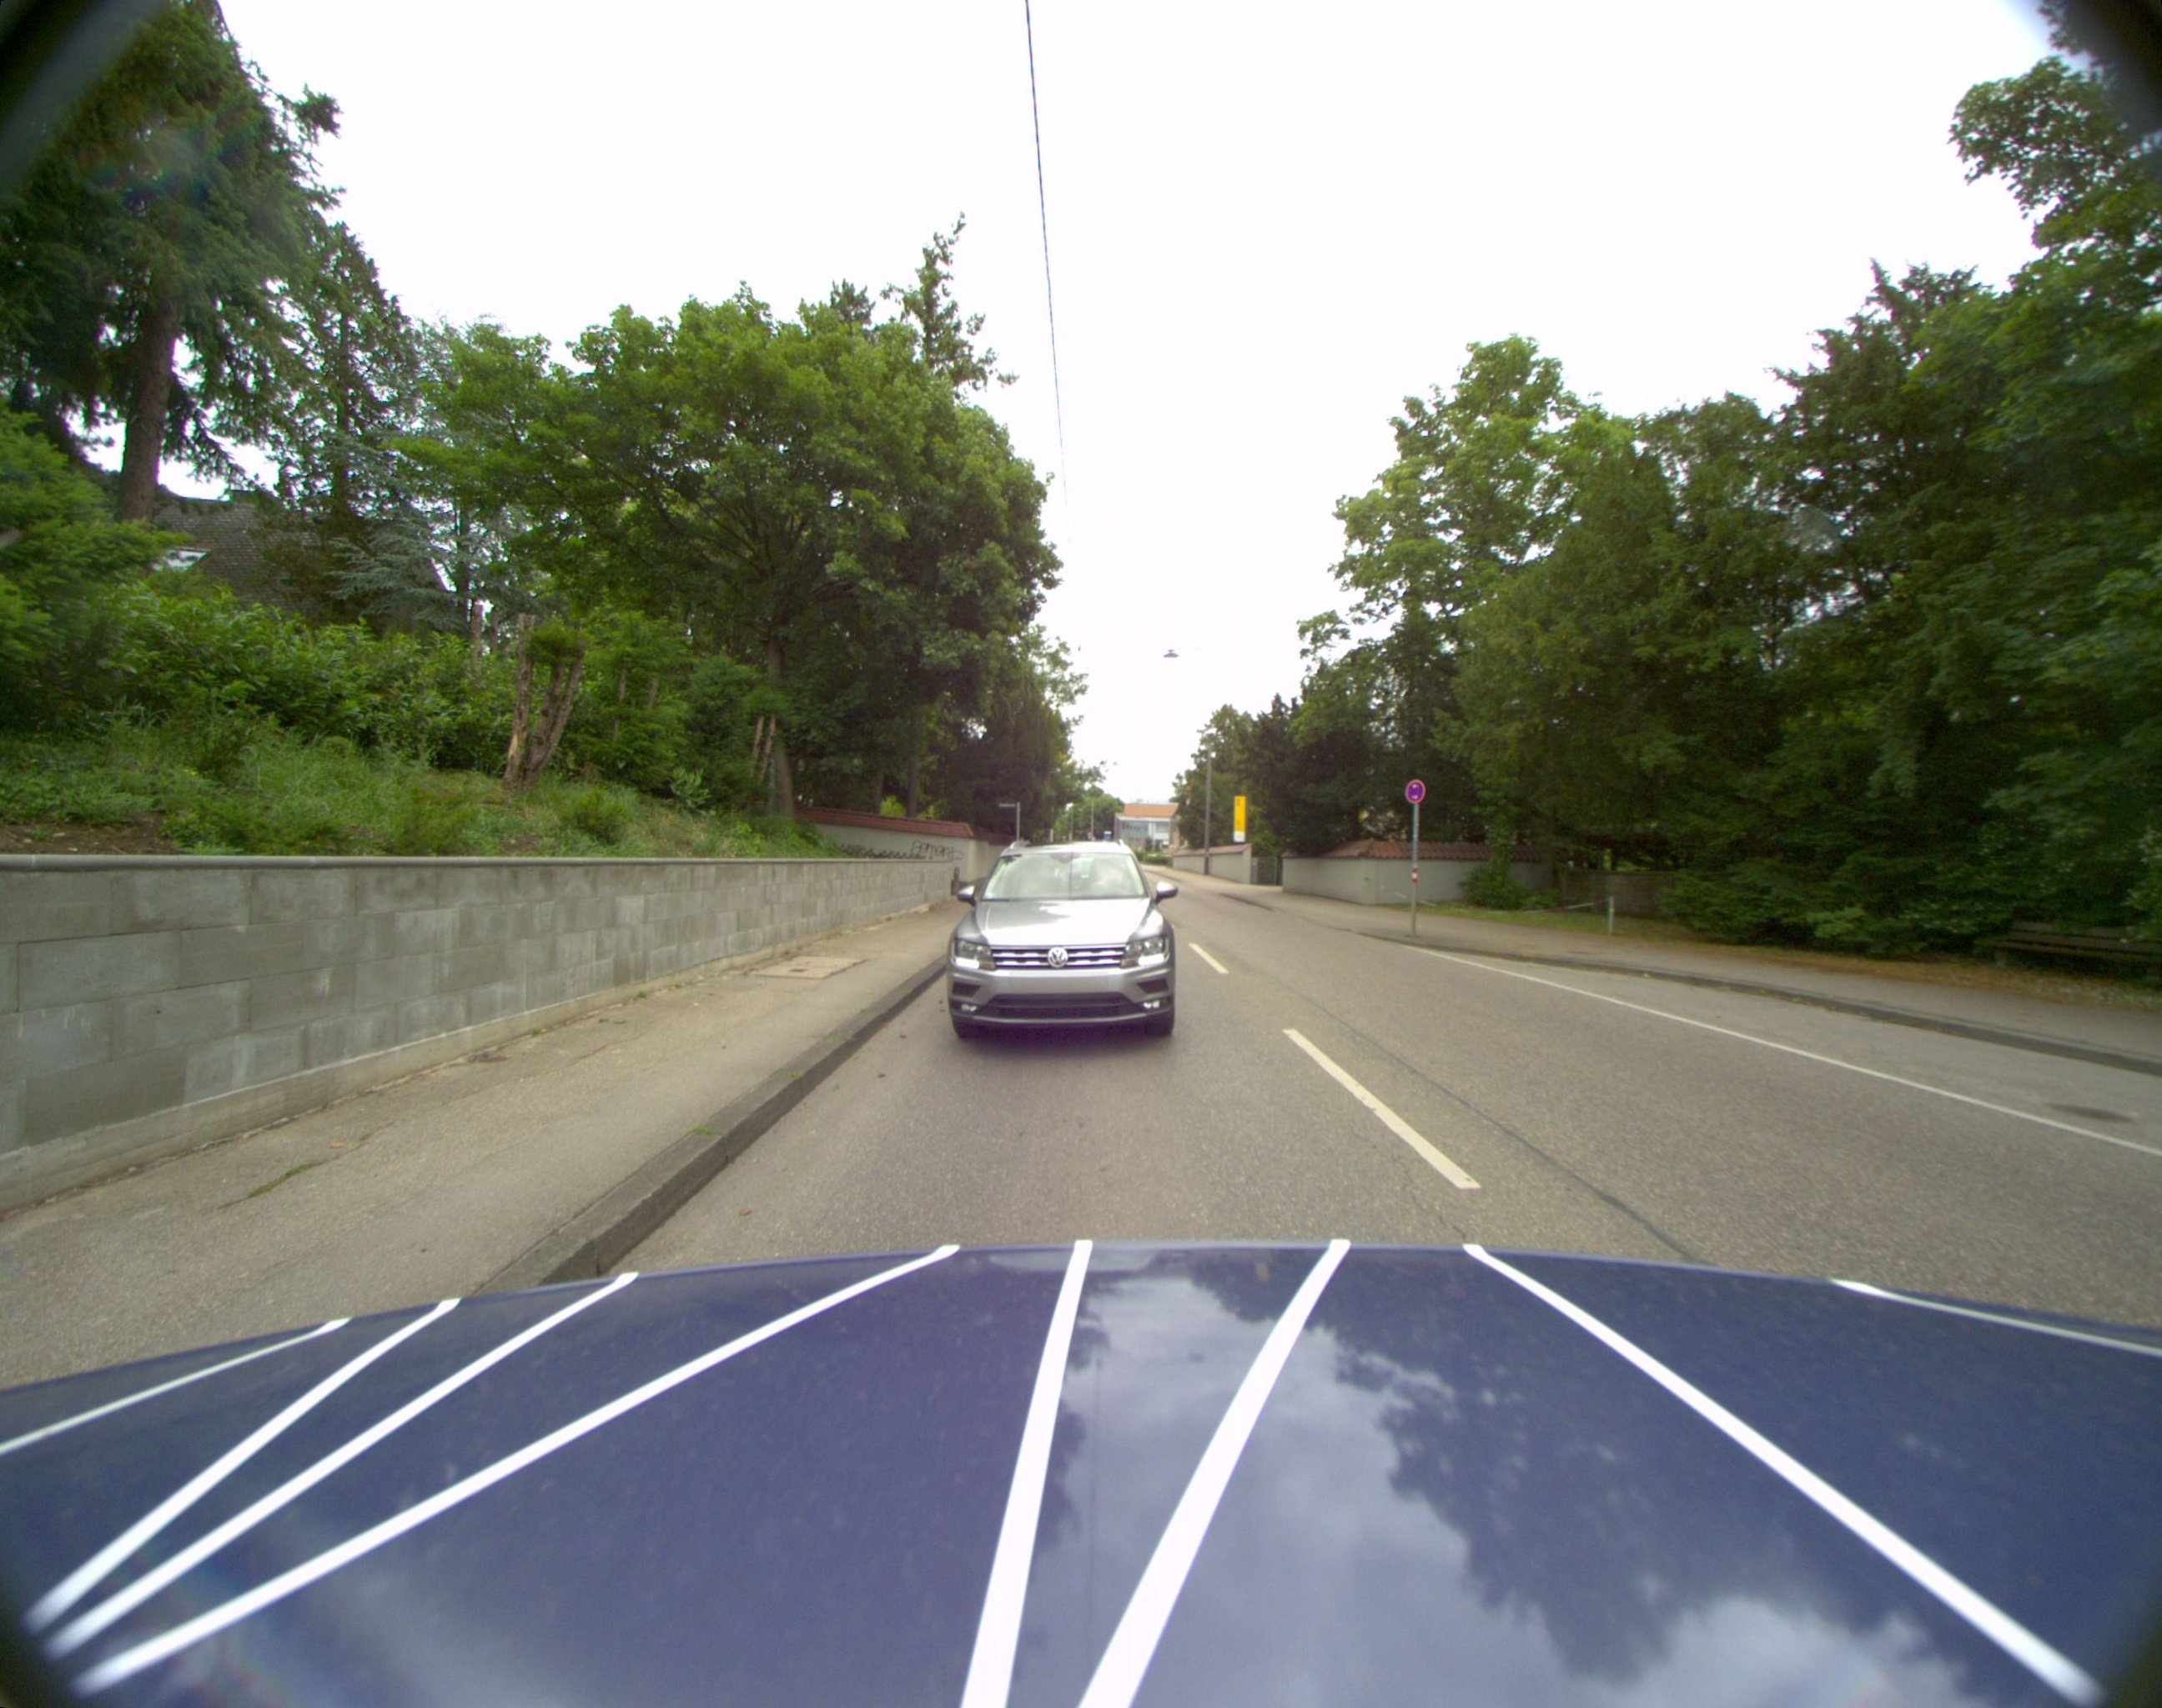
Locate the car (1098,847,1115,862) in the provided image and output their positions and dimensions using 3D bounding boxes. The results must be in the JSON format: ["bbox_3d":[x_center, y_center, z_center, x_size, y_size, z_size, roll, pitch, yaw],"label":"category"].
[{"bbox_3d":[2.925,0.070,87.721,1.877,1.647,4.255,0,1,0],"label":"car"}]

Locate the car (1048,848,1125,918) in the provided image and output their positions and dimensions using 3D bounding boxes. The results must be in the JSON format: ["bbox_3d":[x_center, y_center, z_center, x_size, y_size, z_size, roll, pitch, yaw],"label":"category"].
[{"bbox_3d":[0.140,0.678,20.263,1.820,1.647,4.487,0,1,0],"label":"car"}]

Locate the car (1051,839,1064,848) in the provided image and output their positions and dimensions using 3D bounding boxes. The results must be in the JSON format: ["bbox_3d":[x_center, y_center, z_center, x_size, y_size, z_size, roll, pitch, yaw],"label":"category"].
[{"bbox_3d":[-4.554,-1.935,145.452,1.878,1.647,4.251,0,1,-9],"label":"car"}]

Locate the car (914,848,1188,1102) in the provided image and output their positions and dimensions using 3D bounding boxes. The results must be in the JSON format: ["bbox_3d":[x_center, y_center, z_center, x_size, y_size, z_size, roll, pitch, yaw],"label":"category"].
[{"bbox_3d":[-0.188,0.807,7.512,1.820,1.690,4.718,-1,0,0],"label":"car"}]

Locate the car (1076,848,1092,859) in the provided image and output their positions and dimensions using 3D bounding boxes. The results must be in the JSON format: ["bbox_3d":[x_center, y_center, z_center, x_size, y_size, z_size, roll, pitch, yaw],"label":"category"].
[{"bbox_3d":[0.452,-0.079,112.280,1.878,1.647,4.252,0,1,-8],"label":"car"}]

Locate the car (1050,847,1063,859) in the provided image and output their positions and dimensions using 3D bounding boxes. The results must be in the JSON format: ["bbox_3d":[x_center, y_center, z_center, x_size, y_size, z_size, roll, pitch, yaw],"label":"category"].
[{"bbox_3d":[-3.683,-0.145,115.118,1.820,1.733,4.487,0,1,0],"label":"car"}]
